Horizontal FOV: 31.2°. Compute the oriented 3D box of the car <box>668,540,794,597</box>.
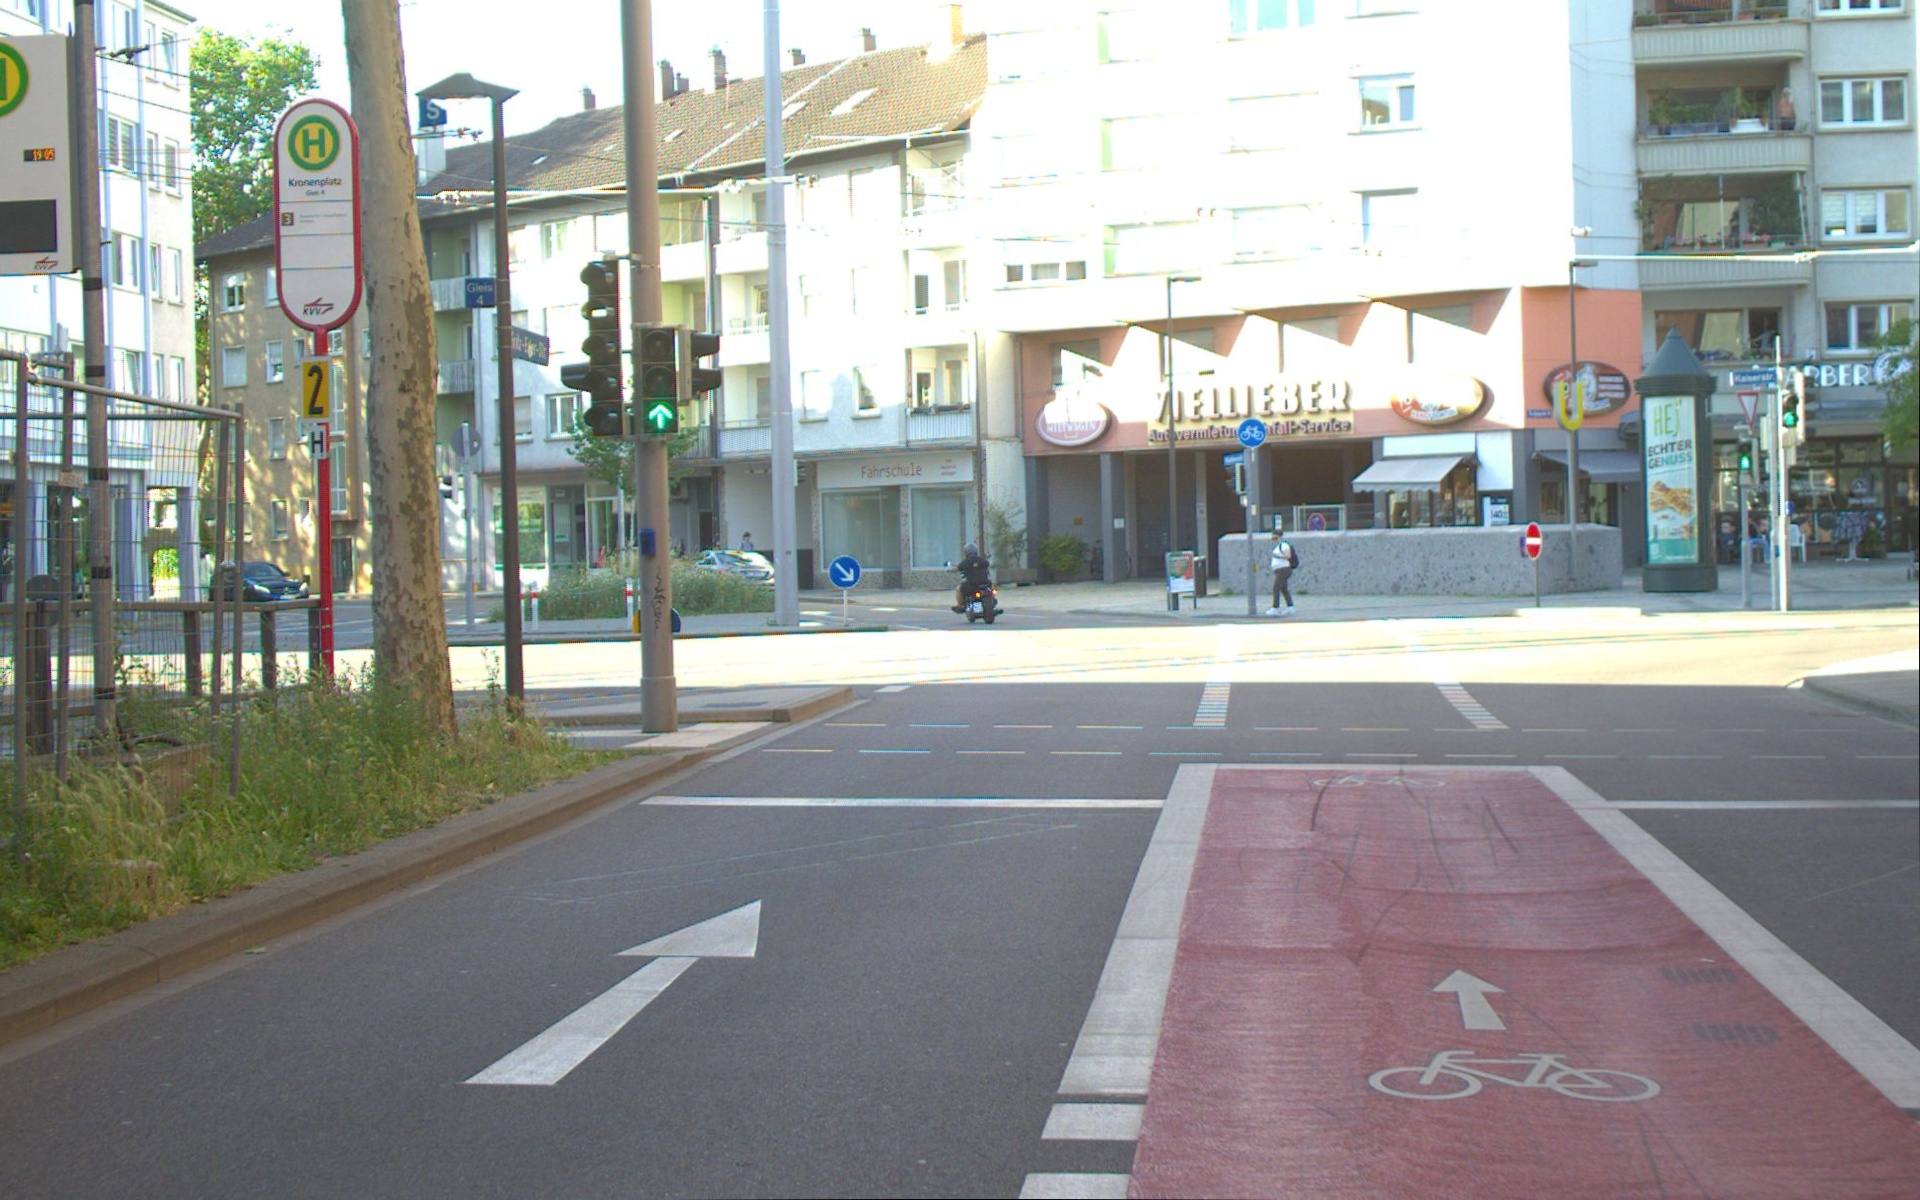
[{"bbox_3d":[-5.875,-0.813,87.809,1.923,1.384,4.001,-2,1,-24],"label":"car"}]

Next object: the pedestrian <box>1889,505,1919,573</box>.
[{"bbox_3d":[20.439,-1.302,73.564,0.720,1.441,0.927,0,2,43],"label":"pedestrian"}]

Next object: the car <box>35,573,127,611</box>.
[{"bbox_3d":[-36.005,-0.328,140.732,2.034,1.499,4.092,-3,2,-40],"label":"car"}]

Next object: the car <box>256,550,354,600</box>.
[{"bbox_3d":[-19.367,-0.745,101.783,1.833,1.381,4.596,-2,1,2],"label":"car"}]

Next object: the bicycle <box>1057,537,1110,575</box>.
[{"bbox_3d":[3.429,-1.220,95.477,0.494,1.035,1.638,-2,1,-39],"label":"bicycle"}]

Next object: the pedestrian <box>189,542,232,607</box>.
[{"bbox_3d":[-20.134,-0.677,92.340,0.805,1.718,0.776,-2,1,-43],"label":"pedestrian"}]

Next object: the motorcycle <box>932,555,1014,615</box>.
[{"bbox_3d":[0.241,-0.299,66.309,0.973,1.128,2.806,0,1,-13],"label":"motorcycle"}]

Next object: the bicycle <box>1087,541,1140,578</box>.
[{"bbox_3d":[4.271,-1.127,95.764,0.494,1.035,1.638,-2,1,-39],"label":"bicycle"}]

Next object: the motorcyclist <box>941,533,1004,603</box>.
[{"bbox_3d":[0.239,-0.628,66.270,0.970,1.342,1.138,0,1,-13],"label":"motorcyclist"}]

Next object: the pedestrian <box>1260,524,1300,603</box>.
[{"bbox_3d":[6.436,-0.735,69.147,0.539,1.578,0.557,-2,1,-37],"label":"pedestrian"}]
